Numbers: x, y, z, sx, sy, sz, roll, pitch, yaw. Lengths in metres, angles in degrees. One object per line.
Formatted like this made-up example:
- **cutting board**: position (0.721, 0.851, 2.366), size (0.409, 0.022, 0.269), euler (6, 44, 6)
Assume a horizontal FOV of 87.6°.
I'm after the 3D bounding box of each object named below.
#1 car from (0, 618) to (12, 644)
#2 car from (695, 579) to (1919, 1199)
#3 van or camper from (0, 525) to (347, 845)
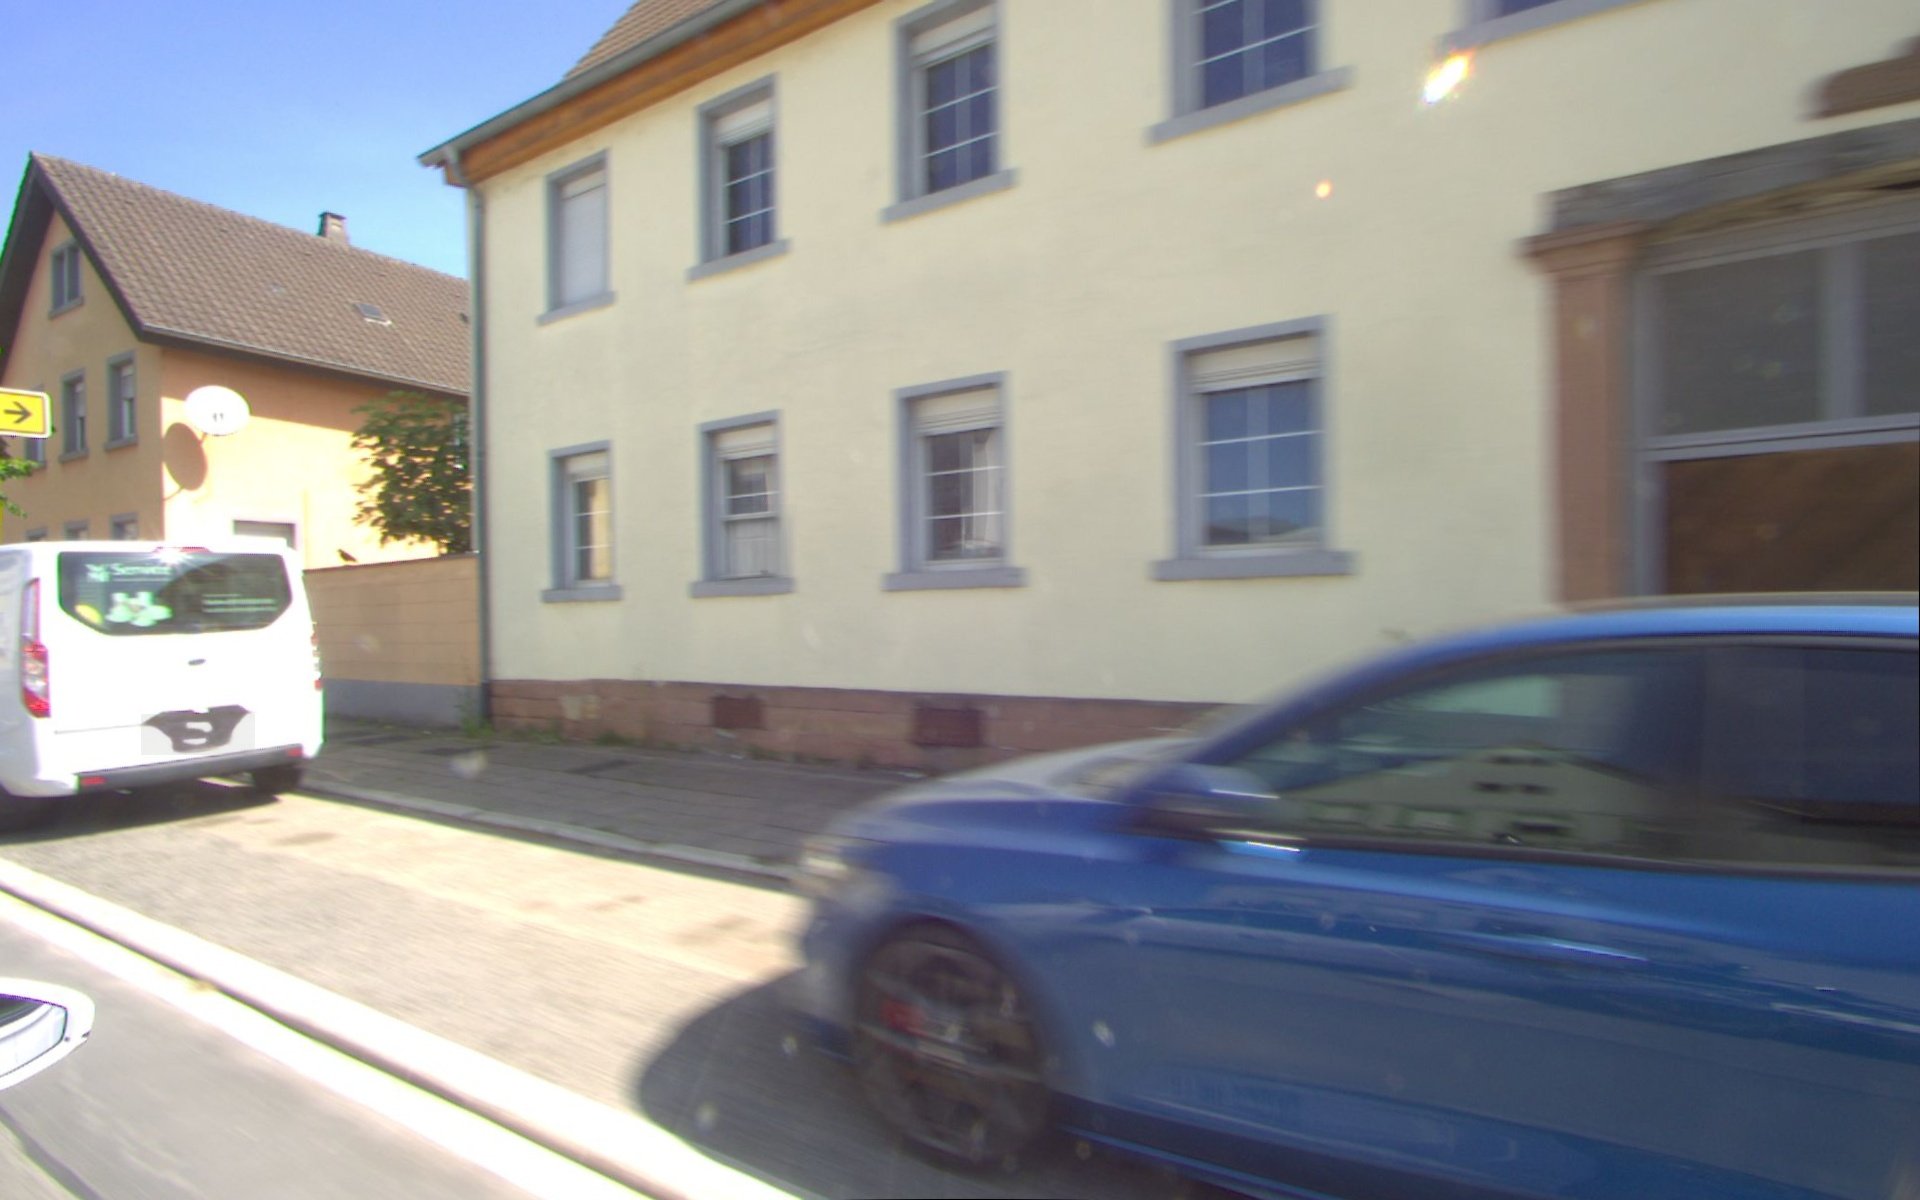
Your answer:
- **car**: position (-51.536, 1.590, 51.523), size (1.978, 1.362, 3.903), euler (-1, -1, 42)
- **car**: position (1.322, 0.708, 2.653), size (3.929, 1.446, 1.725), euler (-1, -1, 32)
- **van or camper**: position (-7.579, 0.568, 8.461), size (5.269, 1.979, 1.990), euler (-1, -1, 32)
